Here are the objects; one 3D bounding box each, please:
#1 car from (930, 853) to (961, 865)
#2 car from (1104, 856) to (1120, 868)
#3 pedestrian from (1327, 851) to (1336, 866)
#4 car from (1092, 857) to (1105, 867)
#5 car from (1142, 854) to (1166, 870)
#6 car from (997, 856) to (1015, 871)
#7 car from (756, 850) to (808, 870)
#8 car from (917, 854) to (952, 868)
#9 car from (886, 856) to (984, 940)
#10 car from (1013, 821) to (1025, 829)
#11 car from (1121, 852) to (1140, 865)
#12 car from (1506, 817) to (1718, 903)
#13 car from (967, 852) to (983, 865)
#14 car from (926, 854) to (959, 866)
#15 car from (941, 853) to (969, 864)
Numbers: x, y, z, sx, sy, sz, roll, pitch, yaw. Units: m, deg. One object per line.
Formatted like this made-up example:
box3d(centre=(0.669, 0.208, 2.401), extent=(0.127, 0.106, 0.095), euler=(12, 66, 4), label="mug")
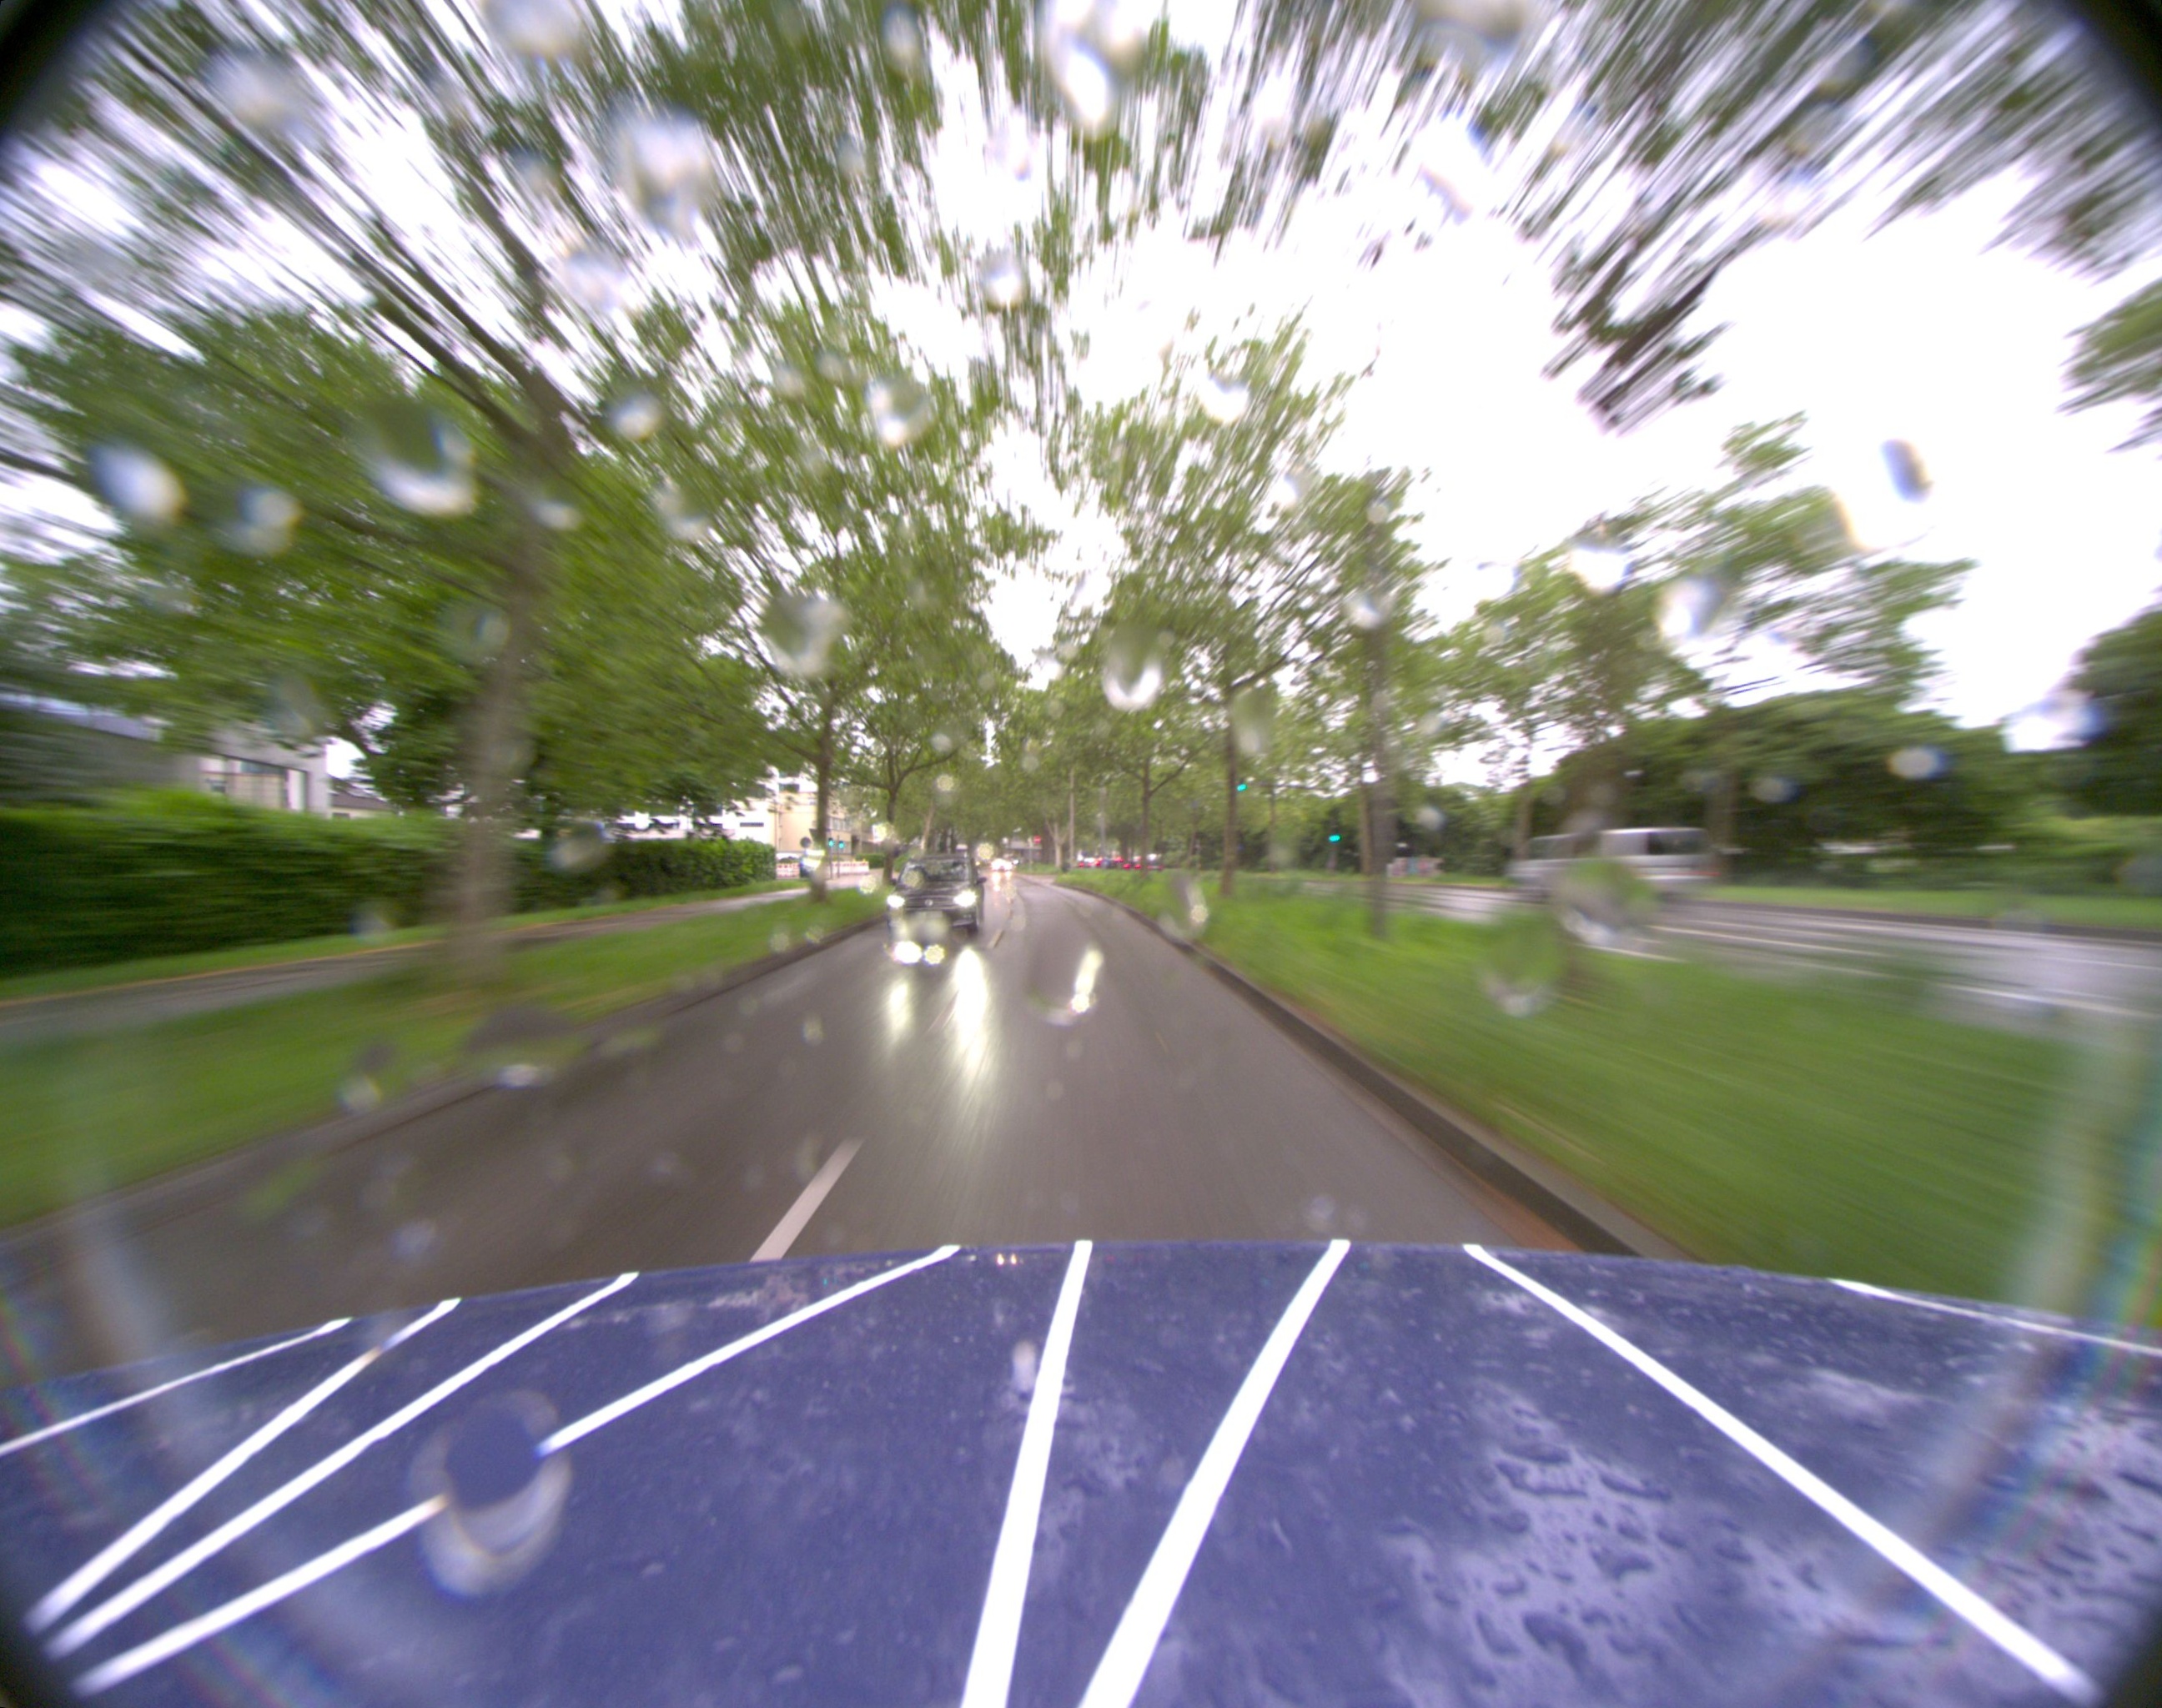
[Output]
box3d(centre=(-17.972, 0.701, 101.093), extent=(4.000, 1.546, 1.784), euler=(0, 0, -8), label="car")
box3d(centre=(4.286, 1.117, 105.099), extent=(1.784, 1.546, 3.998), euler=(0, 0, -4), label="car")
box3d(centre=(18.136, 0.324, 54.987), extent=(0.476, 1.034, 0.441), euler=(0, 1, -1), label="pedestrian")
box3d(centre=(2.916, 1.282, 125.181), extent=(1.784, 1.546, 3.998), euler=(0, 0, -4), label="car")
box3d(centre=(7.458, 0.826, 78.330), extent=(1.784, 1.546, 3.998), euler=(0, 0, -4), label="car")
box3d(centre=(-7.989, 0.979, 80.874), extent=(1.785, 1.546, 3.998), euler=(-1, 0, -7), label="car")
box3d(centre=(-27.256, 0.575, 69.362), extent=(4.000, 1.760, 1.784), euler=(0, 0, -7), label="car")
box3d(centre=(-17.319, 0.814, 90.056), extent=(4.000, 1.546, 1.784), euler=(0, 0, -8), label="car")
box3d(centre=(-3.032, 0.840, 16.469), extent=(1.785, 1.546, 3.997), euler=(0, 0, -7), label="car")
box3d(centre=(-12.276, -5.704, 150.034), extent=(1.783, 1.546, 4.001), euler=(0, 0, 3), label="car")
box3d(centre=(5.868, 0.487, 90.672), extent=(1.784, 1.546, 3.998), euler=(0, 0, -4), label="car")
box3d(centre=(13.422, 0.122, 19.736), extent=(1.939, 1.929, 5.197), euler=(0, 0, 1), label="car")
box3d(centre=(-12.912, 0.512, 92.834), extent=(1.785, 1.546, 3.997), euler=(0, 0, -7), label="car")
box3d(centre=(-17.443, 0.751, 95.577), extent=(4.000, 1.546, 1.784), euler=(0, 0, -8), label="car")
box3d(centre=(-18.247, 0.601, 110.247), extent=(4.000, 1.546, 1.784), euler=(0, 0, -8), label="car")
